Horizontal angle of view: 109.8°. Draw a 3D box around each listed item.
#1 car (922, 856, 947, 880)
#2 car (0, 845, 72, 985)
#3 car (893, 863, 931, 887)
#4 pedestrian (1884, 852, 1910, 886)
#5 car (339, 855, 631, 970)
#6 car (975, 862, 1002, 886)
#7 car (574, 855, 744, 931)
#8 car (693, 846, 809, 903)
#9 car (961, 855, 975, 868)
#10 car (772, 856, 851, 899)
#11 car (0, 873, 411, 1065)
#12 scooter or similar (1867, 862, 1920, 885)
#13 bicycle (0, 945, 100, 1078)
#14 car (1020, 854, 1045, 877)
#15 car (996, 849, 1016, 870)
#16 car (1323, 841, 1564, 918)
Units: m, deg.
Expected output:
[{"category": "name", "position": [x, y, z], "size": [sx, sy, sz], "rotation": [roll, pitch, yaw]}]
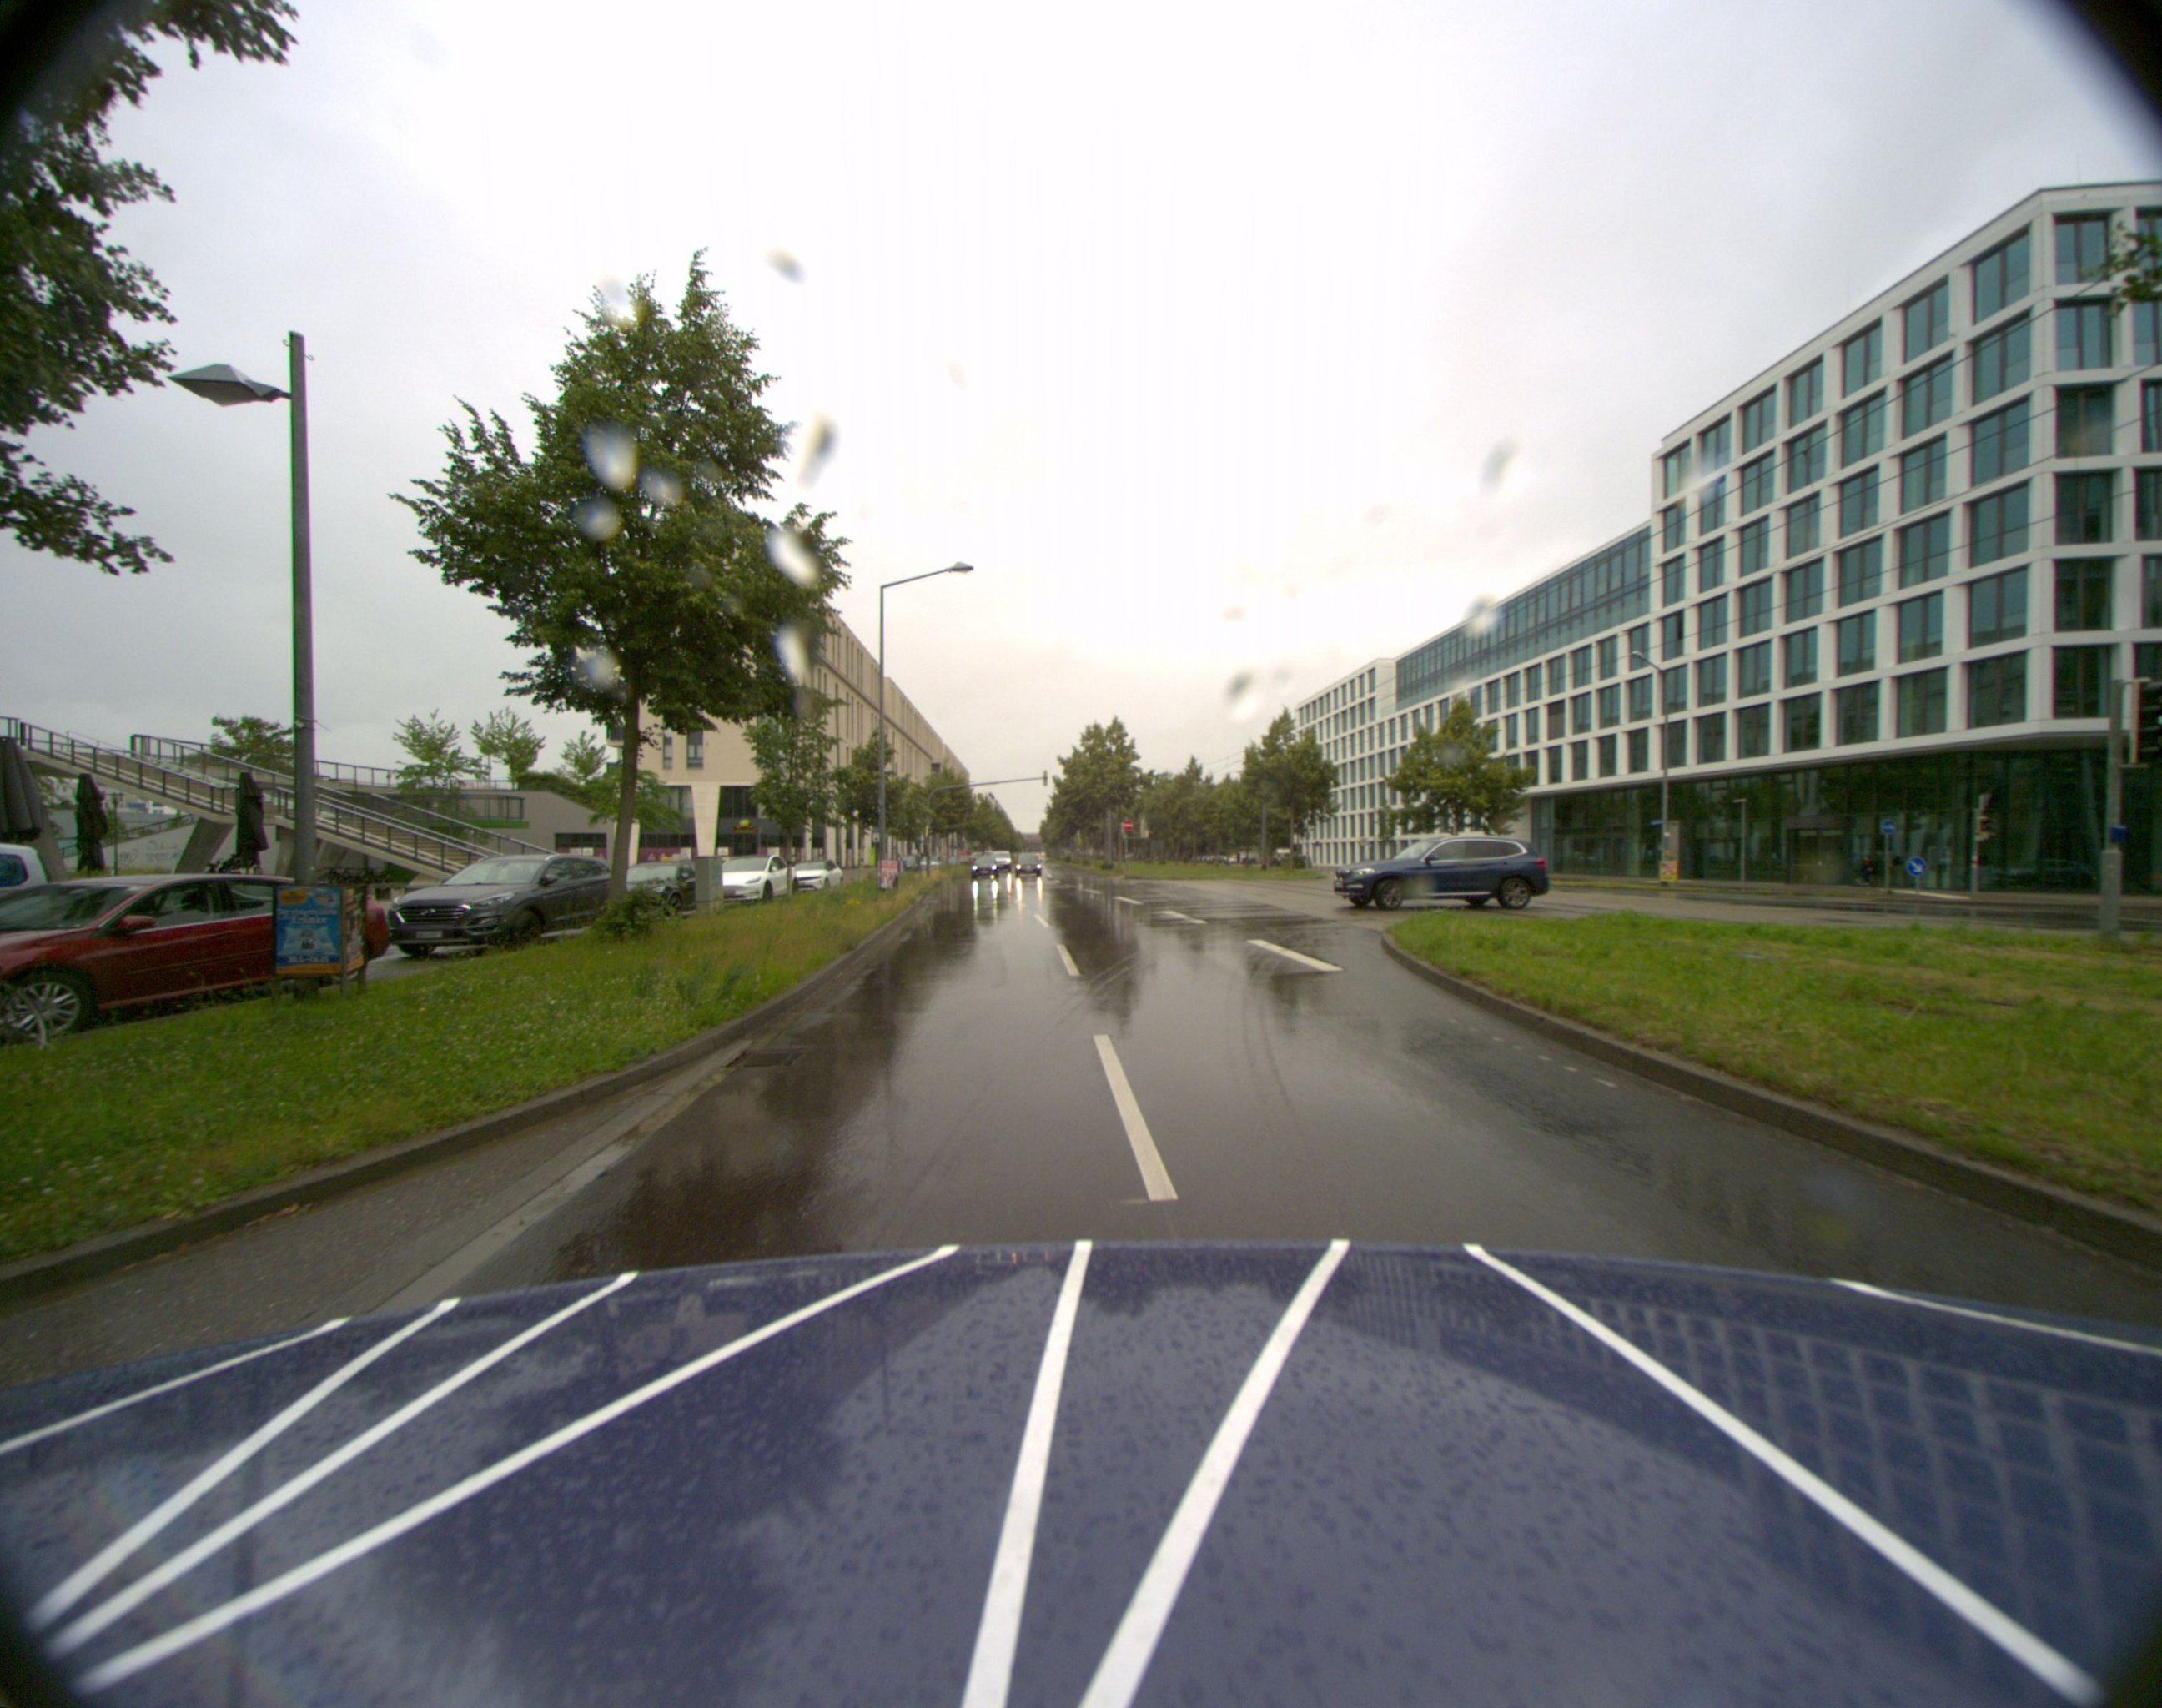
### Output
[{"category": "car", "position": [-12.843, 1.274, 66.787], "size": [1.916, 2.001, 3.998], "rotation": [0, -2, -8]}, {"category": "car", "position": [-15.179, 0.767, 8.435], "size": [1.899, 1.854, 4.722], "rotation": [0, -2, -6]}, {"category": "car", "position": [-12.236, 1.542, 55.310], "size": [1.999, 1.697, 4.838], "rotation": [0, -2, -4]}, {"category": "pedestrian", "position": [40.553, 0.734, 37.770], "size": [0.635, 1.634, 0.546], "rotation": [0, 2, -2]}, {"category": "car", "position": [-10.082, 0.925, 13.393], "size": [1.999, 1.697, 4.217], "rotation": [0, -2, -4]}, {"category": "car", "position": [-6.249, 1.359, 51.706], "size": [1.687, 1.520, 3.968], "rotation": [0, -2, -5]}, {"category": "car", "position": [-10.581, 0.951, 19.551], "size": [1.999, 1.697, 4.723], "rotation": [0, -2, -4]}, {"category": "car", "position": [-10.686, 0.683, 25.055], "size": [1.999, 1.697, 4.838], "rotation": [0, -2, -4]}, {"category": "car", "position": [-14.501, 1.034, 97.497], "size": [1.643, 1.579, 3.928], "rotation": [0, -2, -7]}, {"category": "car", "position": [-11.525, 1.007, 32.843], "size": [1.999, 1.697, 4.838], "rotation": [0, -2, -4]}, {"category": "car", "position": [-9.827, 0.986, 7.601], "size": [1.999, 1.446, 4.957], "rotation": [0, 0, -3]}, {"category": "scooter or similar", "position": [40.458, 0.965, 37.834], "size": [2.162, 1.145, 0.550], "rotation": [0, -1, -5]}, {"category": "bicycle", "position": [-7.716, 1.121, 4.995], "size": [0.575, 0.856, 1.912], "rotation": [0, -2, -19]}, {"category": "car", "position": [-3.446, 0.817, 53.129], "size": [1.658, 1.520, 3.775], "rotation": [0, -2, -5]}, {"category": "car", "position": [-7.193, 0.570, 73.092], "size": [1.757, 1.914, 4.000], "rotation": [0, -2, -3]}, {"category": "car", "position": [8.352, 0.558, 17.857], "size": [4.711, 1.651, 1.930], "rotation": [1, 1, 3]}]
